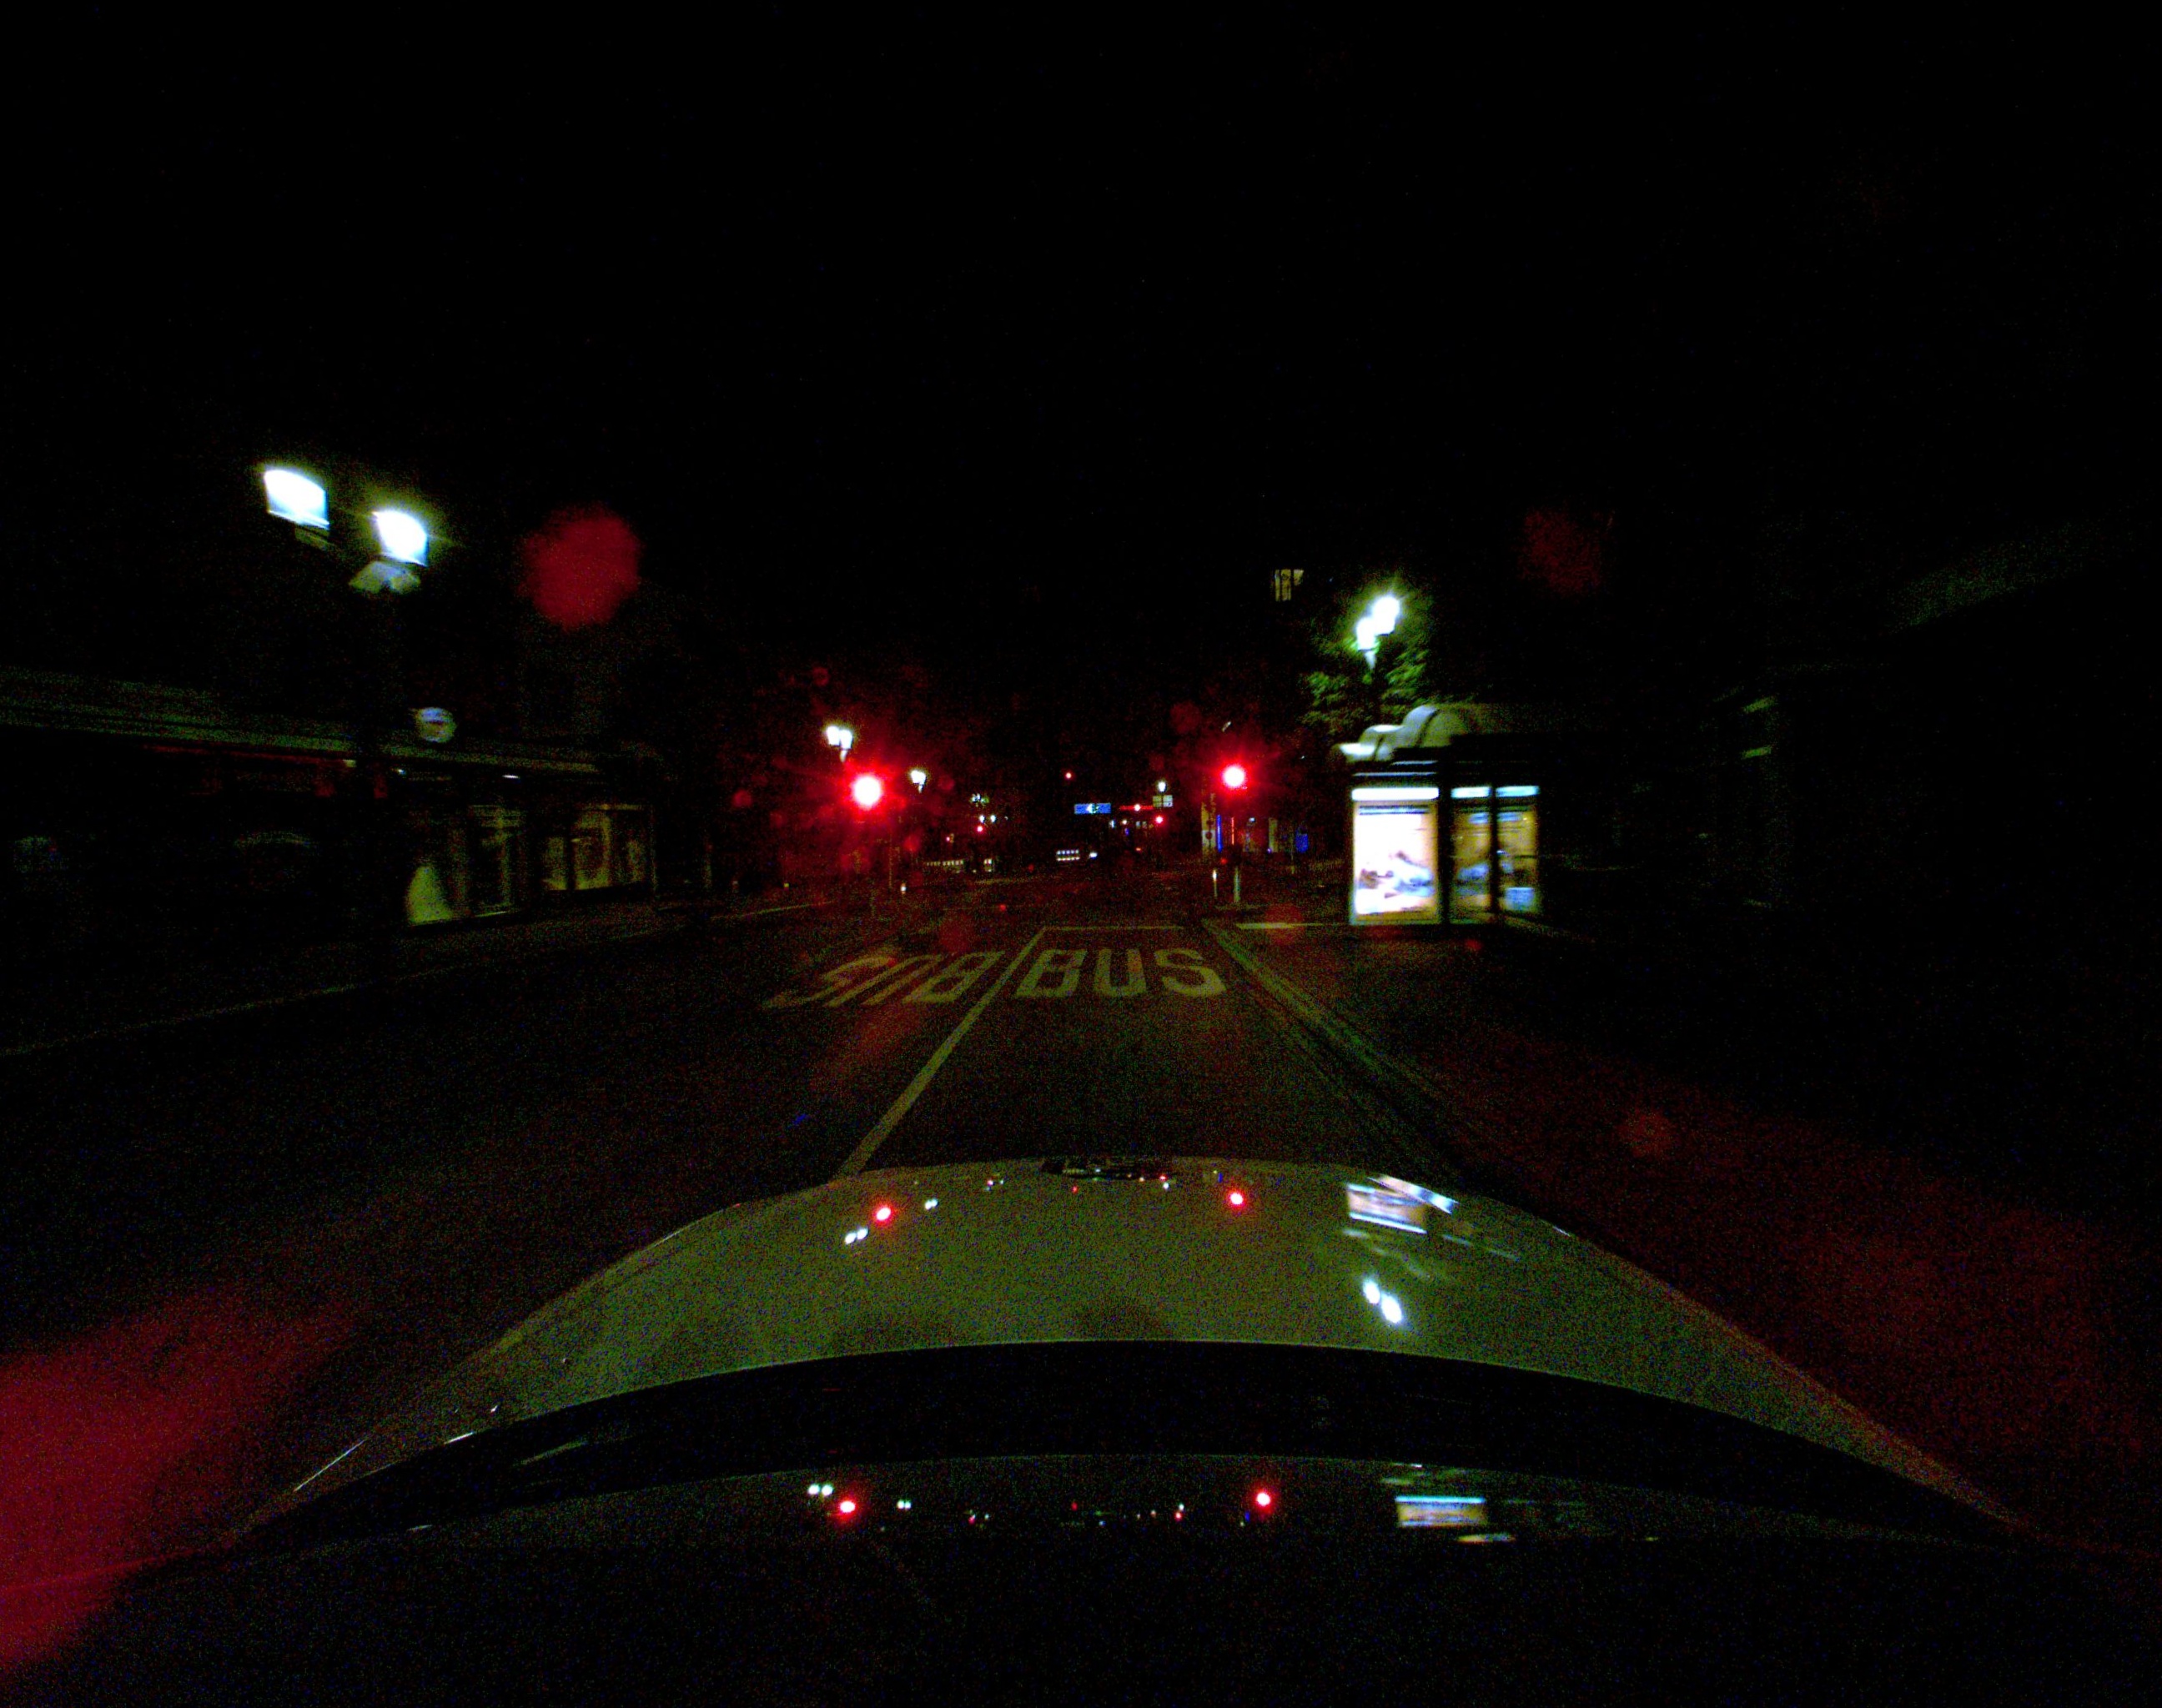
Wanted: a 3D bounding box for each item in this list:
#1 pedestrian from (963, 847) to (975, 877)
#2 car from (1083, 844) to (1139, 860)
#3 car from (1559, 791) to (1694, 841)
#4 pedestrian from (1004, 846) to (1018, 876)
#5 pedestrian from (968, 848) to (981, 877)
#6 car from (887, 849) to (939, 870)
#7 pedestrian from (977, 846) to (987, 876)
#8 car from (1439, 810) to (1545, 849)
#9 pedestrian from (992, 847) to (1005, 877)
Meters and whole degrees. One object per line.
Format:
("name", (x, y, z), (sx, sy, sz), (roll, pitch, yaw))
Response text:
("pedestrian", (-6.556, 0.469, 47.669), (0.716, 1.795, 0.568), (0, -1, -9))
("car", (2.529, -0.128, 68.261), (4.437, 1.297, 1.628), (0, -1, -24))
("car", (24.093, -1.610, 36.049), (4.783, 1.910, 2.172), (-1, -2, 37))
("pedestrian", (-4.221, 0.427, 49.109), (0.737, 1.795, 0.713), (0, -1, -19))
("pedestrian", (-6.675, 0.532, 51.085), (0.711, 1.795, 0.571), (-1, -1, 9))
("car", (-13.728, 0.475, 66.435), (3.720, 1.618, 1.844), (-1, -1, 20))
("pedestrian", (-6.027, 0.413, 49.536), (0.566, 1.795, 0.717), (0, -1, -3))
("car", (19.233, -1.139, 38.286), (4.018, 1.452, 1.830), (-4, 1, 9))
("pedestrian", (-5.006, 0.477, 49.596), (0.571, 1.795, 0.712), (0, -2, -27))
